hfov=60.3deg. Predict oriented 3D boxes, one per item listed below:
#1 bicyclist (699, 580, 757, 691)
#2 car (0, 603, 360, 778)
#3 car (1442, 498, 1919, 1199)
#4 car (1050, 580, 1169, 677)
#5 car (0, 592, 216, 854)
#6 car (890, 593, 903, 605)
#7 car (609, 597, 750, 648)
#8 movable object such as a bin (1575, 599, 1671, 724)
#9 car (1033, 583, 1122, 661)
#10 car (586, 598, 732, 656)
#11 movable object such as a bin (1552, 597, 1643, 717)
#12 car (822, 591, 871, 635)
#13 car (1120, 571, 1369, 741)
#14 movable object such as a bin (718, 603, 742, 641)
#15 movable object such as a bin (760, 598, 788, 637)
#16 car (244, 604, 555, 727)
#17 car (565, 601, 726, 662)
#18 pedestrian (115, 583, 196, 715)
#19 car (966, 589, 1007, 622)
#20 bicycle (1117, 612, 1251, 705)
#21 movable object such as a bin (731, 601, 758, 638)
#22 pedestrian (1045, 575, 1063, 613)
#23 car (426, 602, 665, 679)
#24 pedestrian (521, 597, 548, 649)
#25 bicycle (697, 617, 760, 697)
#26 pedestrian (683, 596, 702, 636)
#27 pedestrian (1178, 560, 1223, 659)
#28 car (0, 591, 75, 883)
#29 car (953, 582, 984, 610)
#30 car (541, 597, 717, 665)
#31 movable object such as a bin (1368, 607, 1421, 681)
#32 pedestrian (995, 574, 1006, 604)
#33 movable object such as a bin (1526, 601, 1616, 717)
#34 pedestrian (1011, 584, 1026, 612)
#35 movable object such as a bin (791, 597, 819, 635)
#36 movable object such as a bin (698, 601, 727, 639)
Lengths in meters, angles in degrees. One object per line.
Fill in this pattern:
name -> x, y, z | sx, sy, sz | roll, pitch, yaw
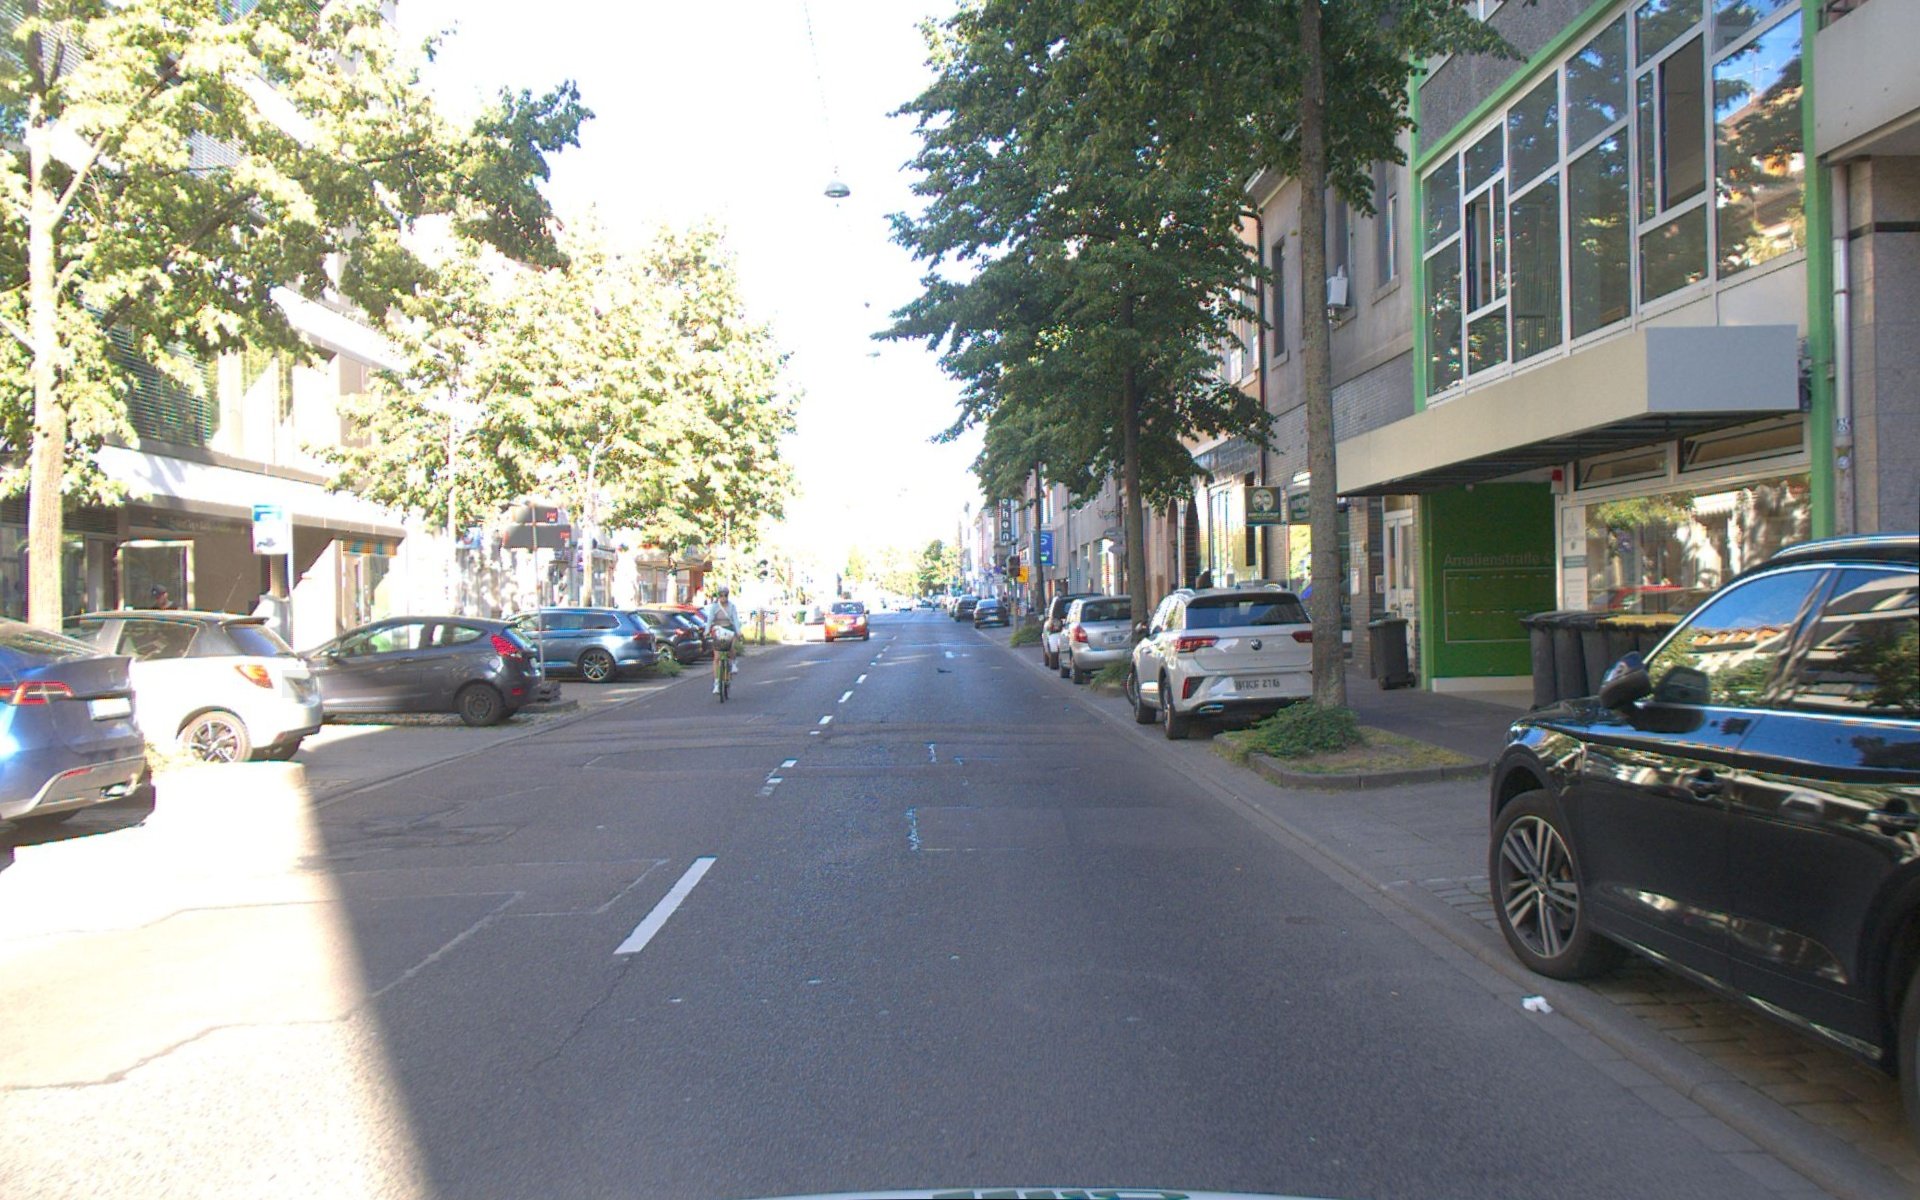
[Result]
bicyclist -> -3.720, 0.550, 26.615 | 0.710, 1.730, 1.282 | -2, 0, -1
car -> -8.173, 0.827, 15.804 | 4.162, 1.484, 1.978 | -1, 0, -5
car -> 3.226, 0.526, 5.057 | 1.954, 1.718, 4.515 | -5, 0, -2
car -> 2.720, 0.484, 30.896 | 1.582, 1.555, 4.233 | -5, 0, -2
car -> -7.627, 0.798, 11.146 | 4.278, 1.597, 1.980 | -1, 0, -1
car -> -9.895, -0.221, 257.447 | 1.952, 1.802, 4.000 | 0, 1, 0
car -> -8.871, 0.701, 52.490 | 4.116, 1.494, 1.740 | -1, 0, 1
movable object such as a bin -> 6.016, 0.546, 15.038 | 0.601, 1.082, 0.589 | -2, 0, 0
car -> 2.587, 0.461, 36.865 | 1.581, 1.555, 3.059 | -4, 0, -2
car -> -8.166, 0.722, 45.081 | 3.672, 1.494, 1.739 | -1, 0, -2
movable object such as a bin -> 6.010, 0.531, 15.616 | 0.601, 1.082, 0.589 | -2, 0, 0
car -> -4.358, 0.490, 63.932 | 1.625, 1.561, 3.760 | -3, 0, -1
car -> 3.017, 0.539, 18.469 | 1.845, 1.553, 4.232 | -4, 0, -2
movable object such as a bin -> -8.355, 0.793, 60.022 | 0.739, 1.364, 0.805 | -2, 0, -2
movable object such as a bin -> -7.533, 0.708, 67.078 | 1.021, 1.497, 1.143 | -2, 0, -2
car -> -7.514, 0.850, 22.497 | 3.710, 1.484, 1.777 | -1, 0, -9
car -> -8.058, 0.790, 42.548 | 3.762, 1.454, 1.789 | -1, 0, 0
pedestrian -> -11.402, 0.677, 23.463 | 0.684, 1.828, 0.746 | -1, 0, 10
car -> 1.378, 0.243, 86.668 | 1.879, 1.504, 4.963 | -5, 0, -1
bicycle -> 2.956, 0.760, 21.902 | 1.591, 1.030, 0.611 | -6, 1, -3
movable object such as a bin -> -8.755, 0.786, 67.234 | 0.944, 1.497, 1.143 | -2, 0, -2
pedestrian -> 4.020, -0.265, 70.562 | 0.569, 1.586, 1.020 | -4, 0, -2
car -> -8.280, 0.799, 33.326 | 4.403, 1.484, 1.789 | 0, 0, -3
pedestrian -> -11.861, 0.638, 46.134 | 0.497, 1.433, 0.825 | 0, 1, 3
bicycle -> -3.713, 0.892, 26.688 | 0.710, 1.189, 2.197 | -2, 0, -1
pedestrian -> -11.494, 0.693, 71.057 | 0.651, 1.688, 1.036 | -2, 0, -2
pedestrian -> 4.537, 0.175, 31.228 | 0.610, 1.795, 0.771 | -4, 0, 0
car -> -7.399, 0.800, 8.800 | 4.278, 1.597, 1.946 | -1, 0, -1
car -> 0.521, -0.296, 106.189 | 1.933, 1.755, 4.823 | 0, 1, -1
car -> -7.925, 0.725, 39.813 | 3.839, 1.511, 1.771 | -1, 0, 0
movable object such as a bin -> 5.948, 0.599, 22.661 | 0.512, 0.973, 0.655 | -2, 0, 0
pedestrian -> 2.497, -0.674, 102.131 | 0.607, 1.797, 0.518 | -2, 0, 1
movable object such as a bin -> 6.001, 0.568, 16.268 | 0.601, 1.082, 0.655 | -2, 0, 0
pedestrian -> 3.608, -0.112, 102.187 | 0.784, 1.704, 0.589 | -3, 0, 1
movable object such as a bin -> -6.300, 0.633, 67.311 | 1.021, 1.497, 1.452 | -2, 0, -2
movable object such as a bin -> -10.042, 0.814, 67.166 | 1.021, 1.497, 1.143 | -2, 0, -2
